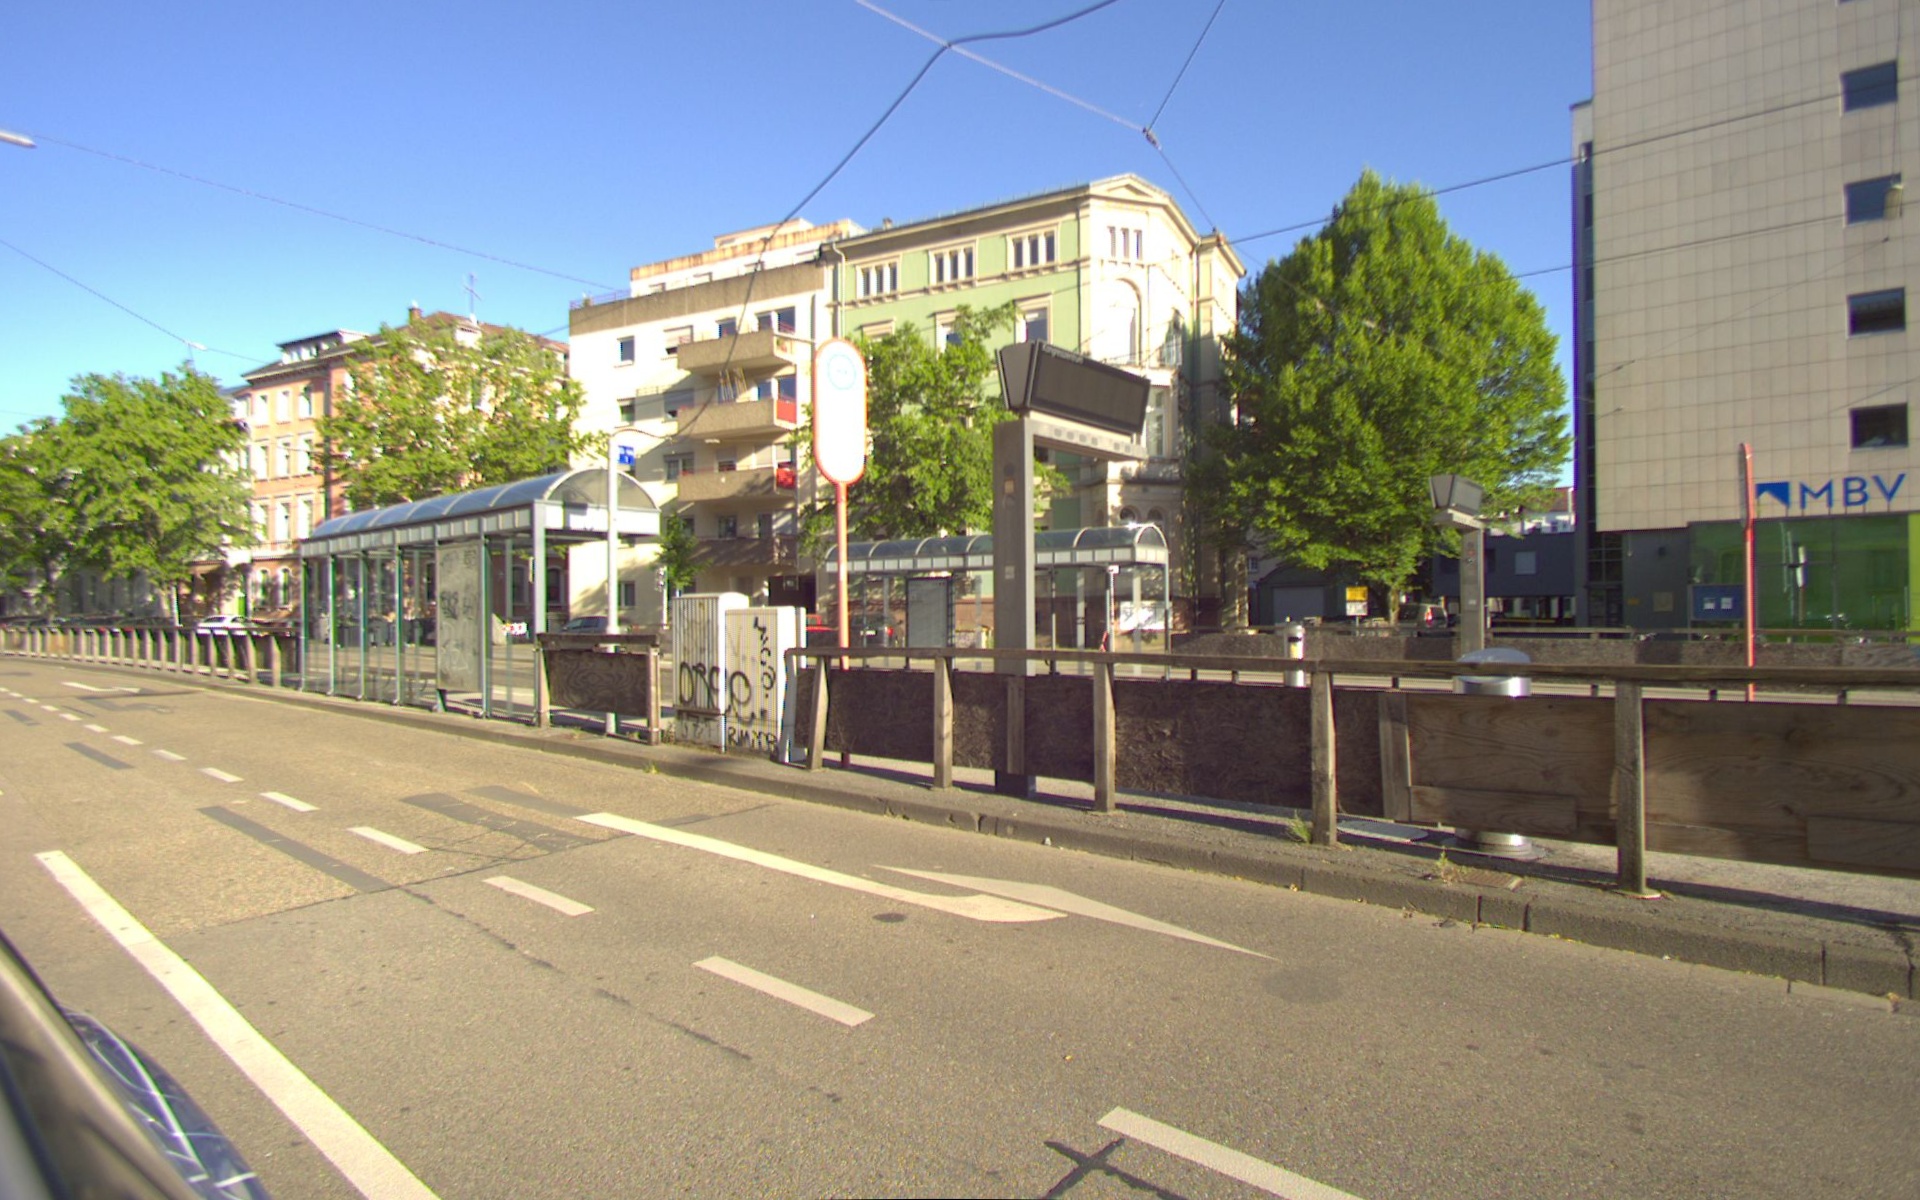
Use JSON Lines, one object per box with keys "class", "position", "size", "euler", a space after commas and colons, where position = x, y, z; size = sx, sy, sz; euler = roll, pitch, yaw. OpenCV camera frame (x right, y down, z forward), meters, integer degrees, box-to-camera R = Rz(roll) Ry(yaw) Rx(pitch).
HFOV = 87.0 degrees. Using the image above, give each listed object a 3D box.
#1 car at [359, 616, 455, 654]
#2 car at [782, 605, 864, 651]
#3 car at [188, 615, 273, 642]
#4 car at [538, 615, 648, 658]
{"class": "car", "position": [-23.856, 1.491, 43.658], "size": [3.987, 1.541, 1.978], "euler": [-1, -2, 32]}
{"class": "car", "position": [-6.193, 1.258, 46.143], "size": [1.791, 2.029, 3.963], "euler": [-1, -1, 27]}
{"class": "car", "position": [-39.060, 1.492, 54.260], "size": [1.565, 1.360, 3.631], "euler": [0, -1, 11]}
{"class": "car", "position": [-14.090, 1.381, 38.809], "size": [3.987, 1.541, 1.978], "euler": [-1, -2, 32]}
